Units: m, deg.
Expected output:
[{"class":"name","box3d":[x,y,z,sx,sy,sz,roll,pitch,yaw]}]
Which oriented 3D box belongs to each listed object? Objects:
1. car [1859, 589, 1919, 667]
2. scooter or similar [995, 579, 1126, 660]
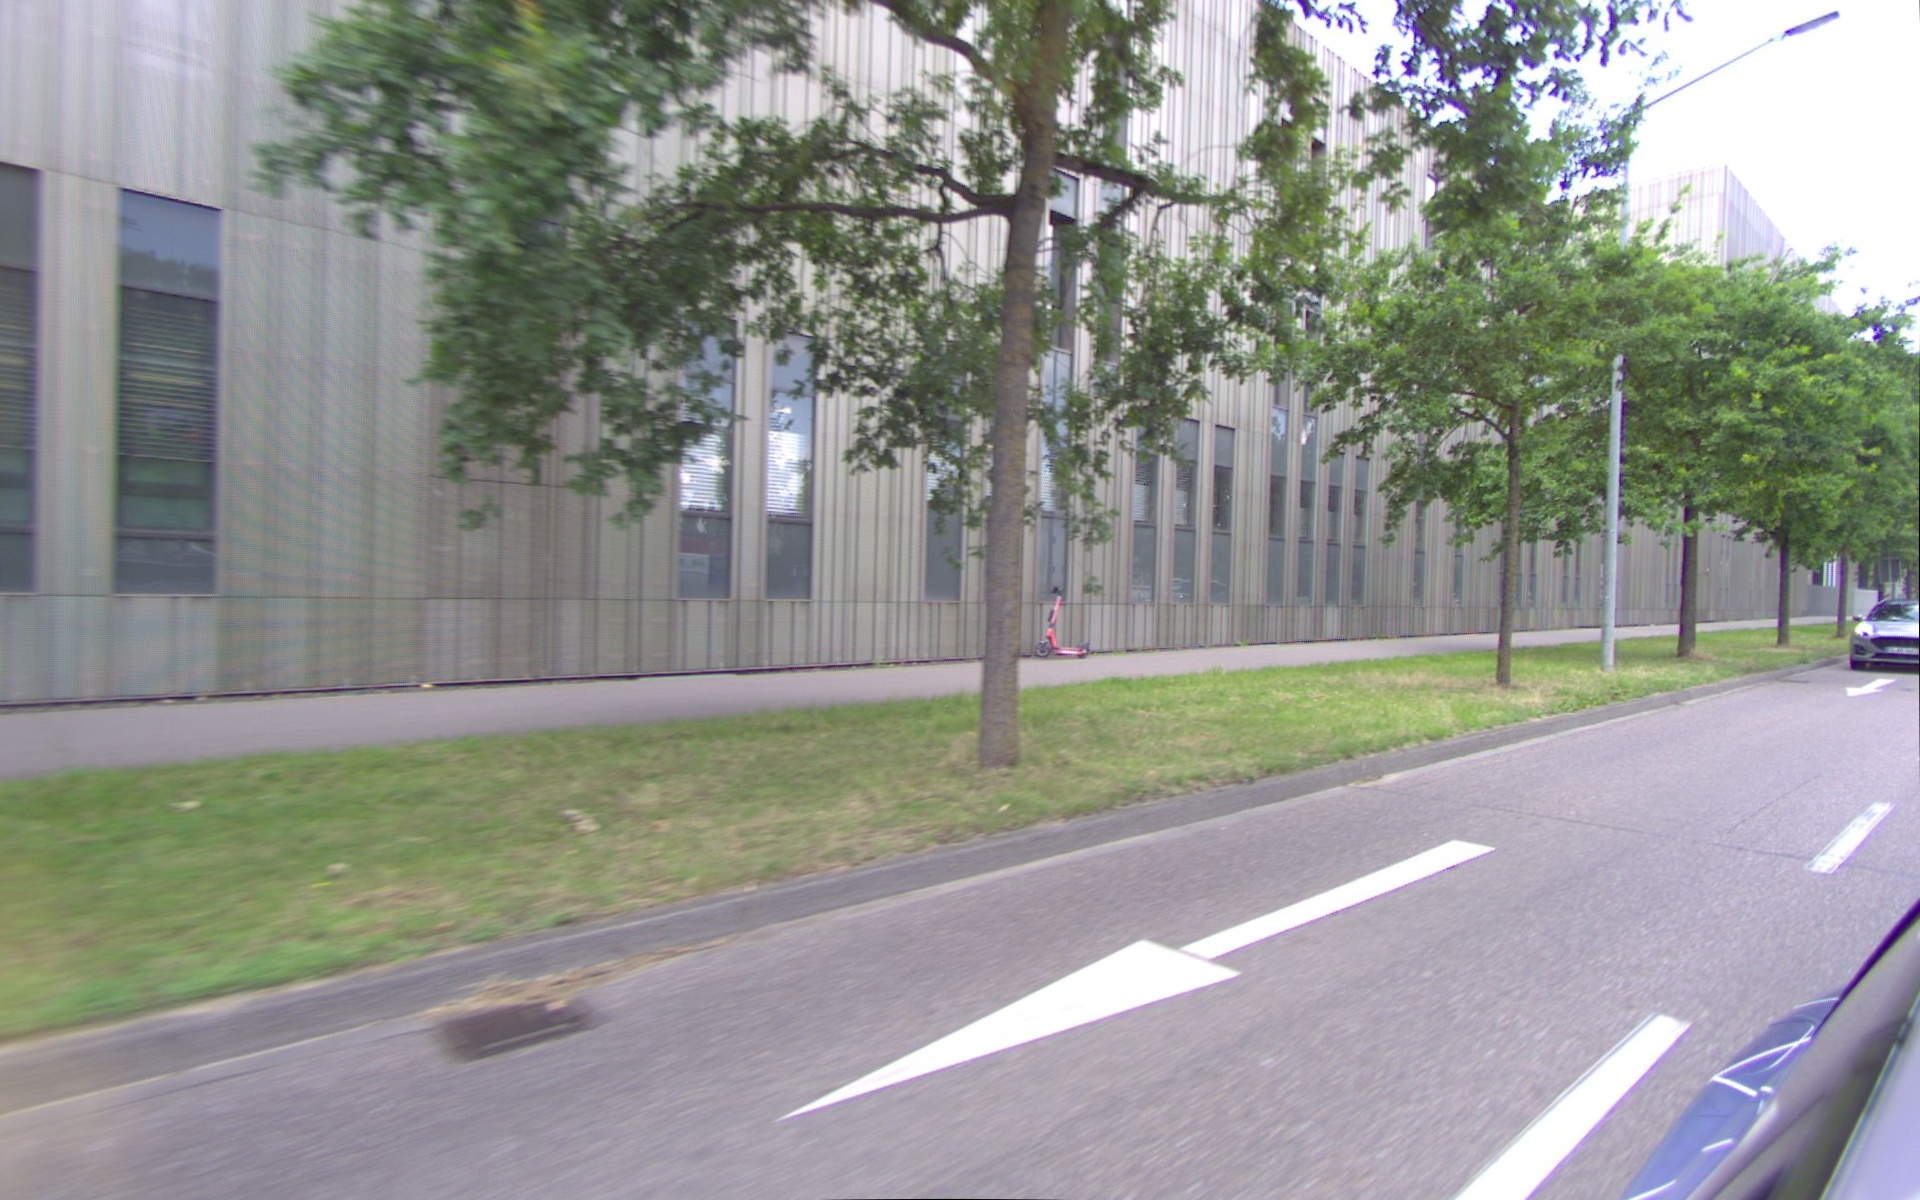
[{"class":"car","box3d":[20.993,0.572,21.930,3.885,1.594,1.822,0,0,-41]},{"class":"scooter or similar","box3d":[1.740,0.298,17.141,2.436,1.261,0.706,0,3,-41]}]
